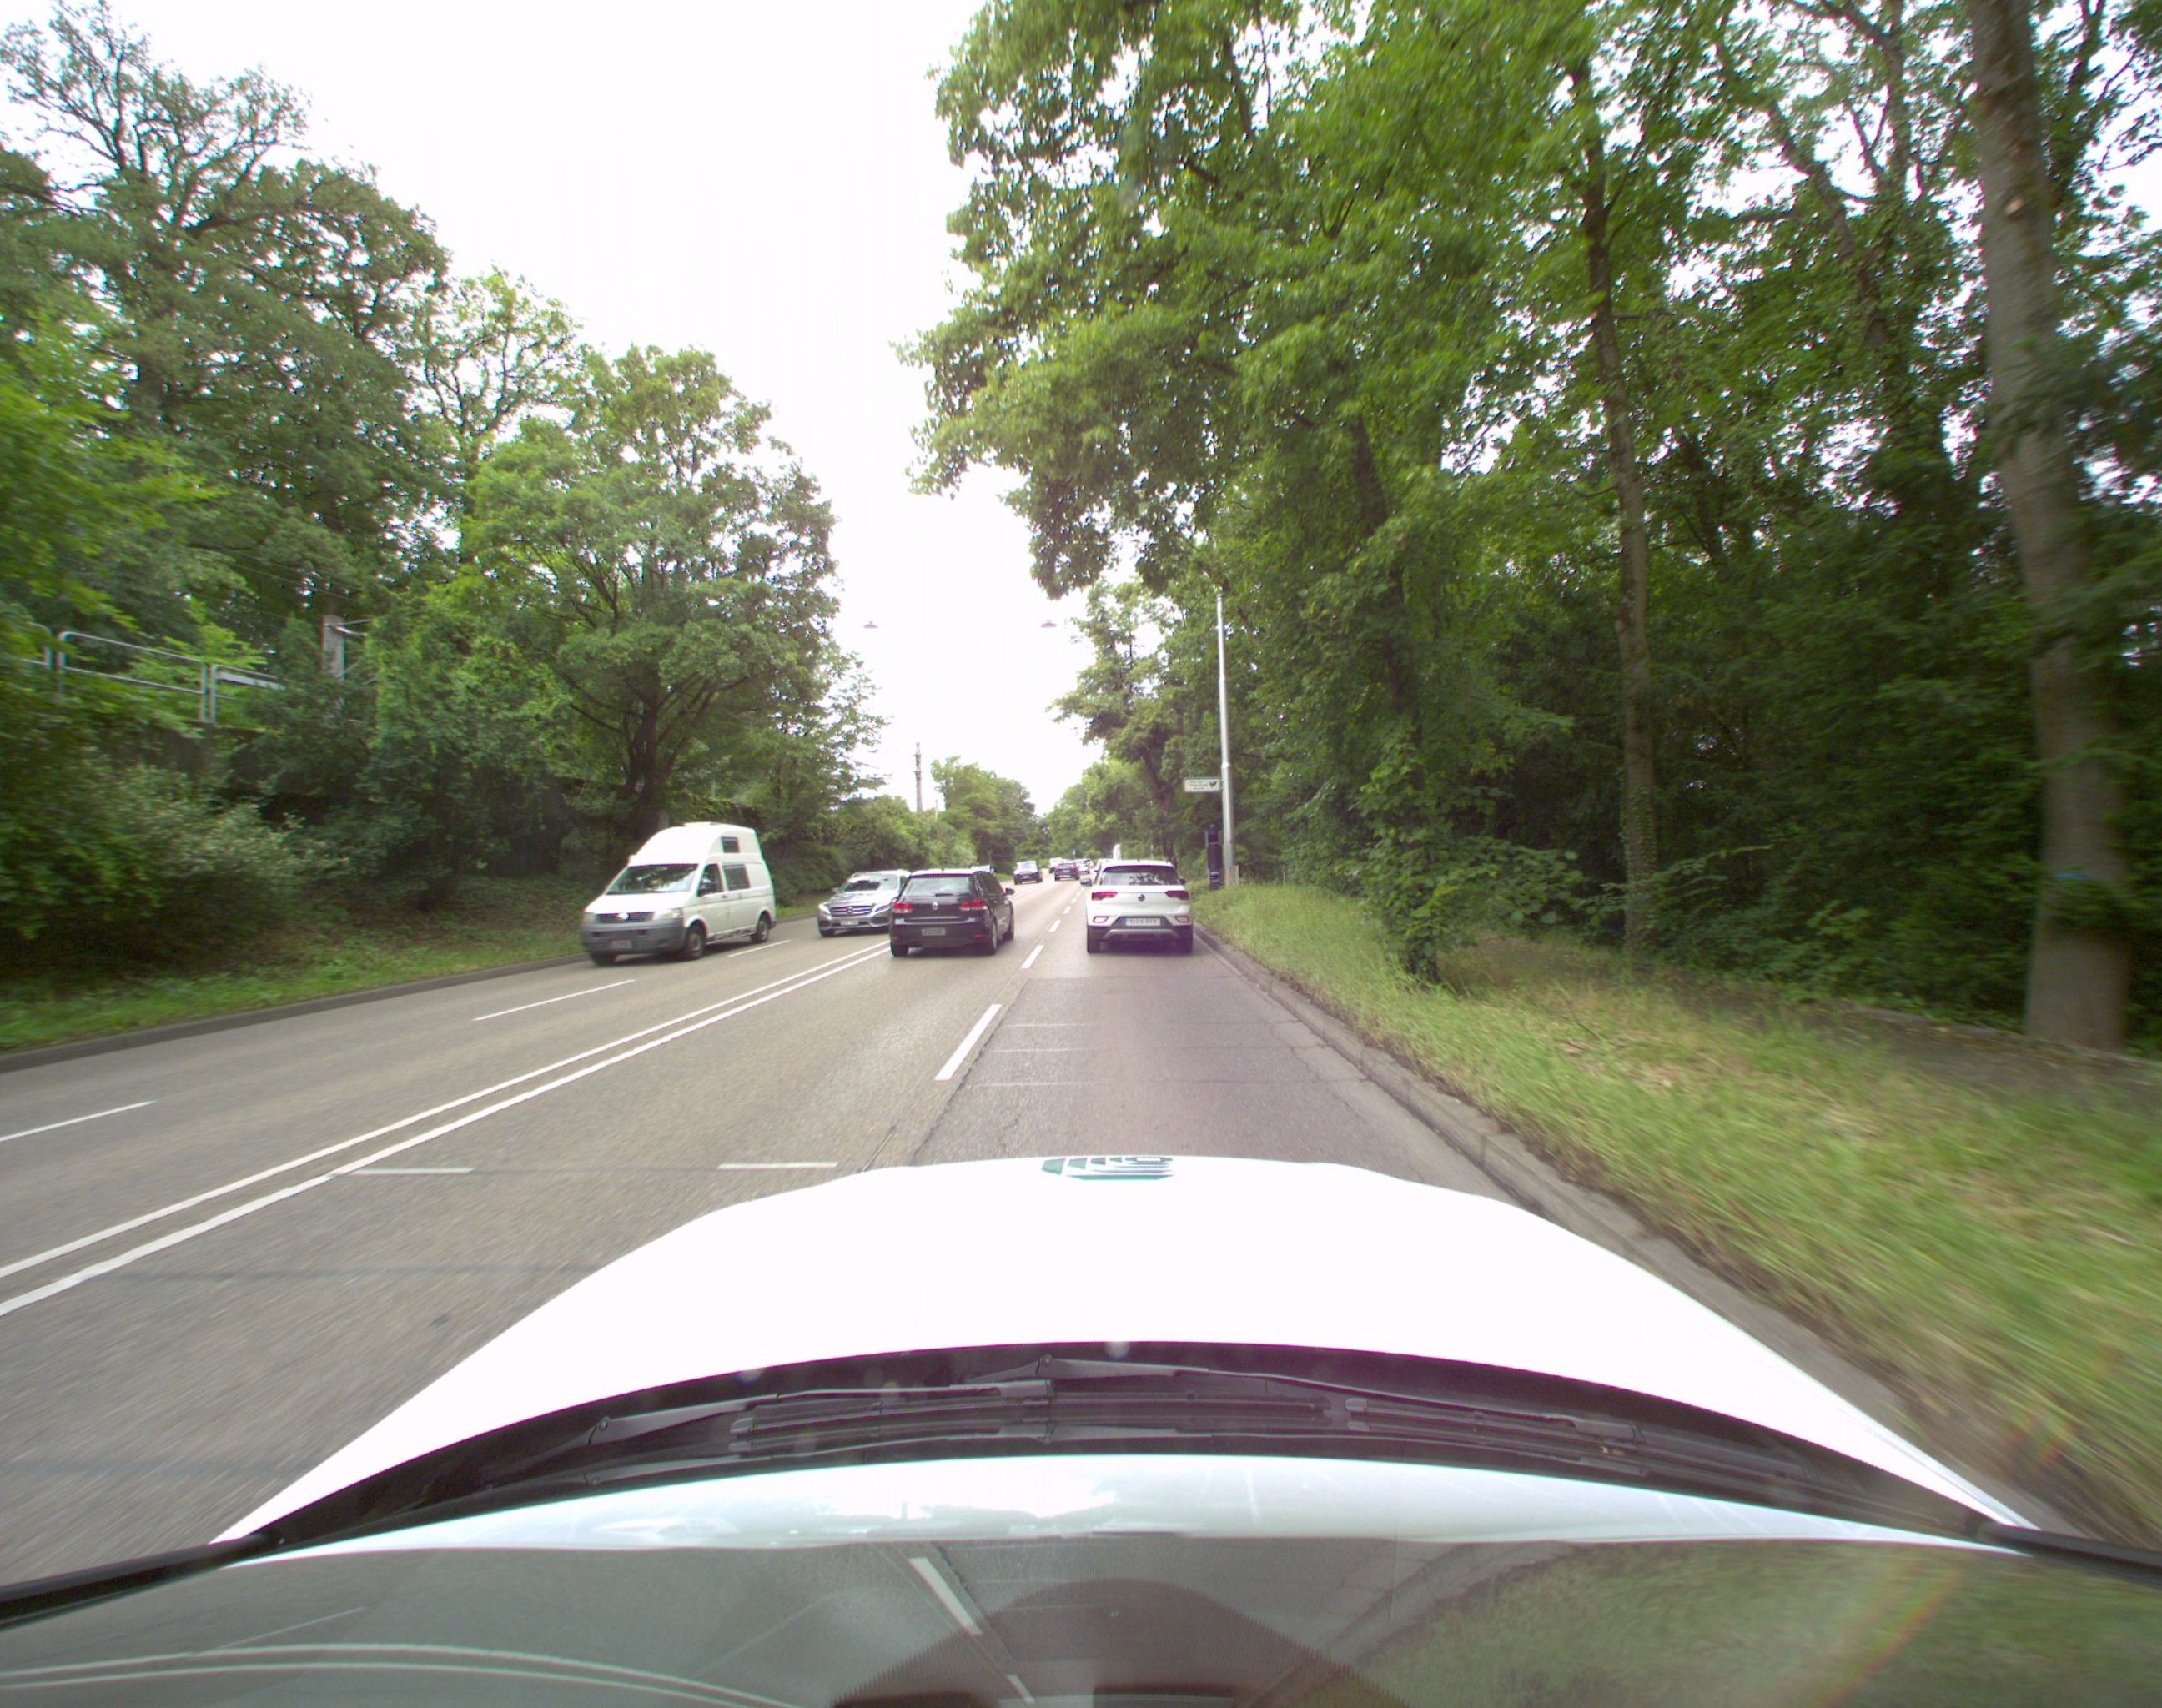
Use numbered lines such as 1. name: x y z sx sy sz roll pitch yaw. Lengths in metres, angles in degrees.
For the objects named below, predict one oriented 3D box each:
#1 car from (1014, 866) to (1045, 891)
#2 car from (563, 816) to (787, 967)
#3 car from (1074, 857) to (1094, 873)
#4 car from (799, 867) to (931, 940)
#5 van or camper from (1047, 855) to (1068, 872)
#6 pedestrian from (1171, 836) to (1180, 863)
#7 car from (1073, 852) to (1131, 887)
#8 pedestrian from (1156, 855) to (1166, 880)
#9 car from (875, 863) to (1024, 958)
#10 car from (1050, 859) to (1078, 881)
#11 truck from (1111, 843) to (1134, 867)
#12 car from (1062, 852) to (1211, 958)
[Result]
1. car: -3.796 1.877 60.808 1.803 1.662 4.831 -3 -3 2
2. car: -7.949 0.677 16.610 1.880 2.556 4.917 -2 -1 2
3. car: 0.353 1.109 83.657 1.814 1.623 4.002 -1 -1 2
4. car: -5.170 1.126 20.163 1.832 1.465 4.467 -5 -1 2
5. van or camper: -3.198 1.308 109.616 1.994 2.013 5.348 -5 -1 -11
6. pedestrian: 6.352 -0.311 54.583 0.518 1.753 0.524 -1 -1 -2
7. car: 1.116 0.845 45.597 1.858 1.702 3.973 -5 1 -20
8. pedestrian: 5.336 0.892 54.291 0.607 1.698 0.548 -1 -1 -2
9. car: -2.231 0.922 14.903 1.942 1.466 4.001 -1 -1 2
10. car: -1.281 1.241 64.150 1.986 1.592 4.001 -1 -1 2
11. truck: 5.817 0.217 115.152 2.477 3.182 7.219 -1 -1 -4
12. car: 0.824 0.806 14.598 1.998 1.596 3.991 -1 -1 -6
